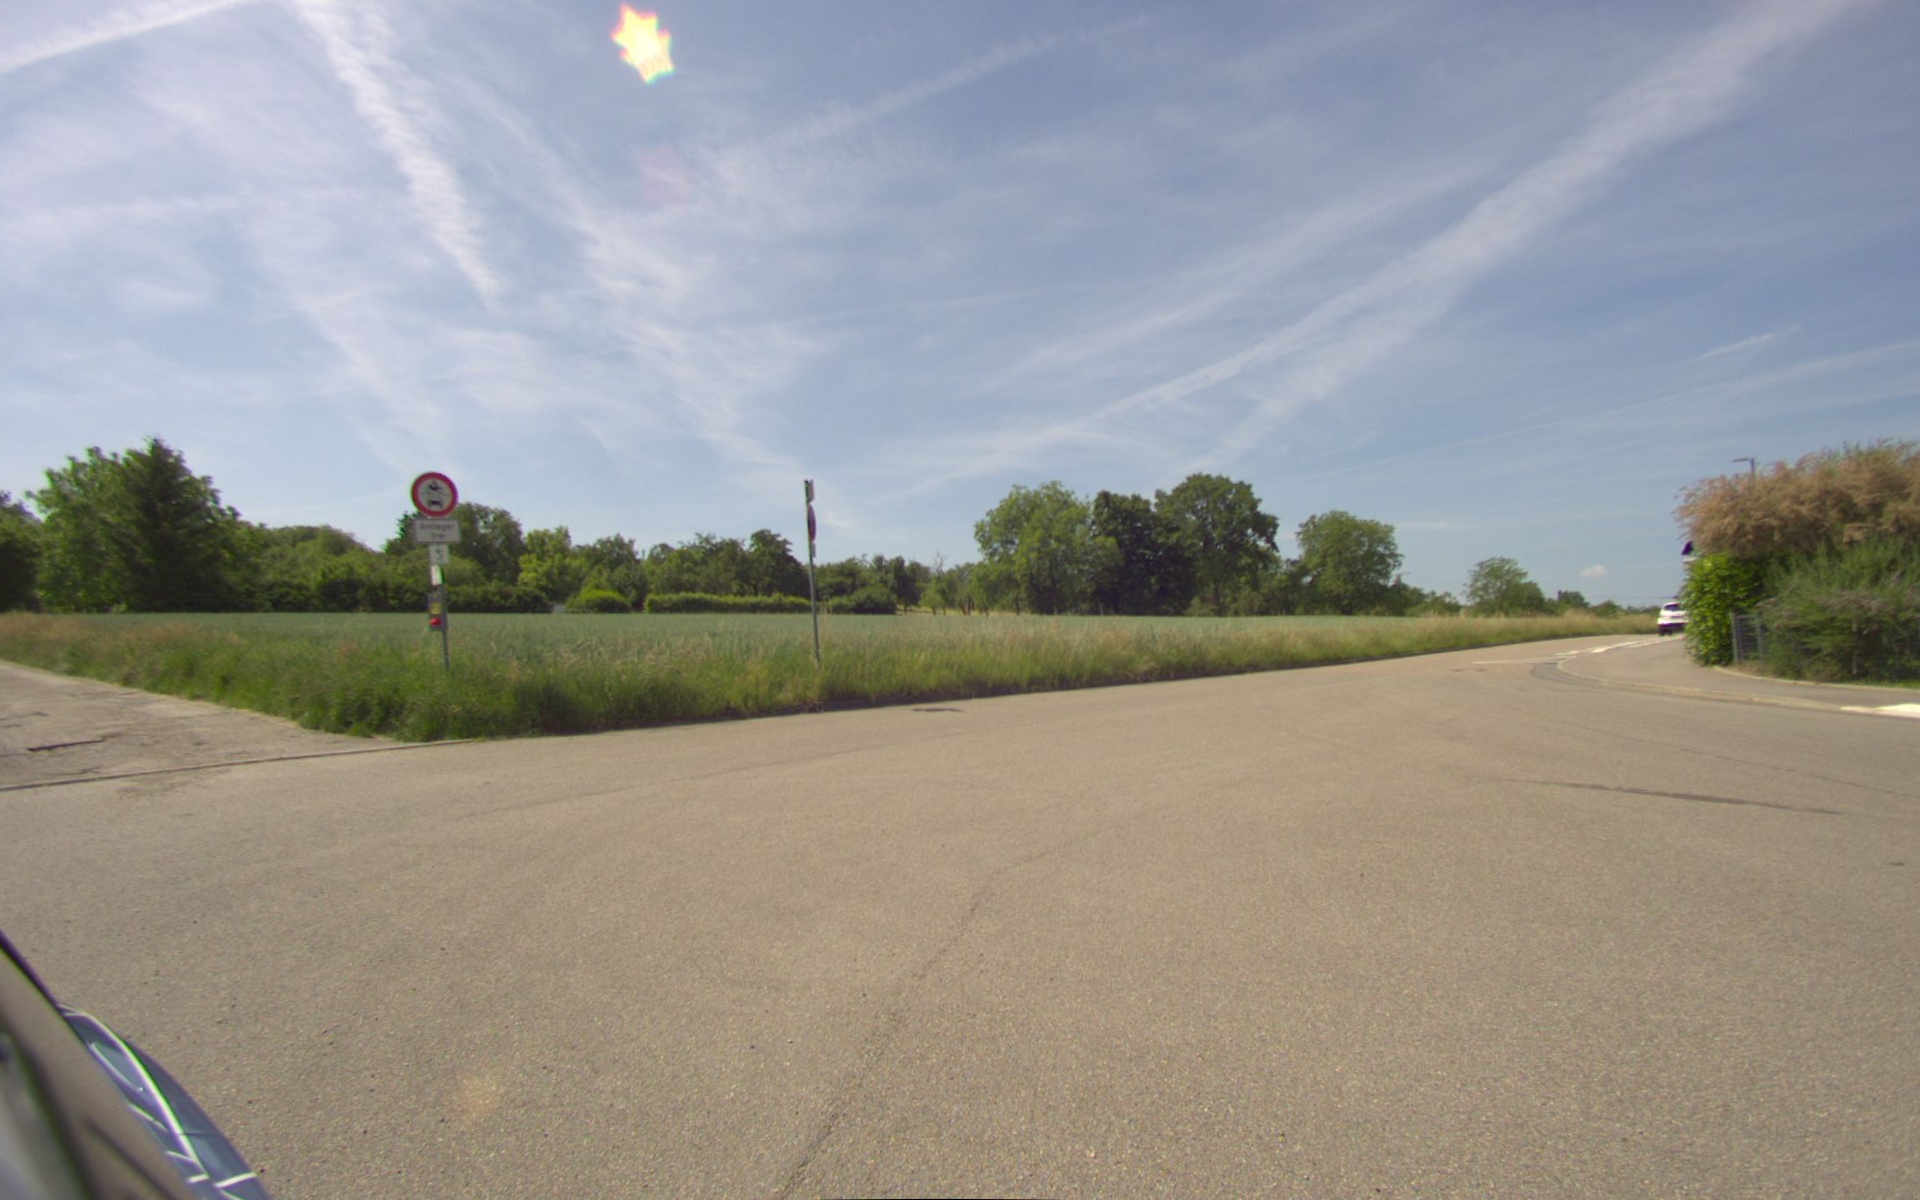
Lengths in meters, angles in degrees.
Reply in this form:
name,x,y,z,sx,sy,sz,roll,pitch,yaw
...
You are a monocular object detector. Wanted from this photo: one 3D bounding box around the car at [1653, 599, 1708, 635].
name,x,y,z,sx,sy,sz,roll,pitch,yaw
car,36.127,0.829,50.729,1.739,1.646,4.292,-5,-4,41
